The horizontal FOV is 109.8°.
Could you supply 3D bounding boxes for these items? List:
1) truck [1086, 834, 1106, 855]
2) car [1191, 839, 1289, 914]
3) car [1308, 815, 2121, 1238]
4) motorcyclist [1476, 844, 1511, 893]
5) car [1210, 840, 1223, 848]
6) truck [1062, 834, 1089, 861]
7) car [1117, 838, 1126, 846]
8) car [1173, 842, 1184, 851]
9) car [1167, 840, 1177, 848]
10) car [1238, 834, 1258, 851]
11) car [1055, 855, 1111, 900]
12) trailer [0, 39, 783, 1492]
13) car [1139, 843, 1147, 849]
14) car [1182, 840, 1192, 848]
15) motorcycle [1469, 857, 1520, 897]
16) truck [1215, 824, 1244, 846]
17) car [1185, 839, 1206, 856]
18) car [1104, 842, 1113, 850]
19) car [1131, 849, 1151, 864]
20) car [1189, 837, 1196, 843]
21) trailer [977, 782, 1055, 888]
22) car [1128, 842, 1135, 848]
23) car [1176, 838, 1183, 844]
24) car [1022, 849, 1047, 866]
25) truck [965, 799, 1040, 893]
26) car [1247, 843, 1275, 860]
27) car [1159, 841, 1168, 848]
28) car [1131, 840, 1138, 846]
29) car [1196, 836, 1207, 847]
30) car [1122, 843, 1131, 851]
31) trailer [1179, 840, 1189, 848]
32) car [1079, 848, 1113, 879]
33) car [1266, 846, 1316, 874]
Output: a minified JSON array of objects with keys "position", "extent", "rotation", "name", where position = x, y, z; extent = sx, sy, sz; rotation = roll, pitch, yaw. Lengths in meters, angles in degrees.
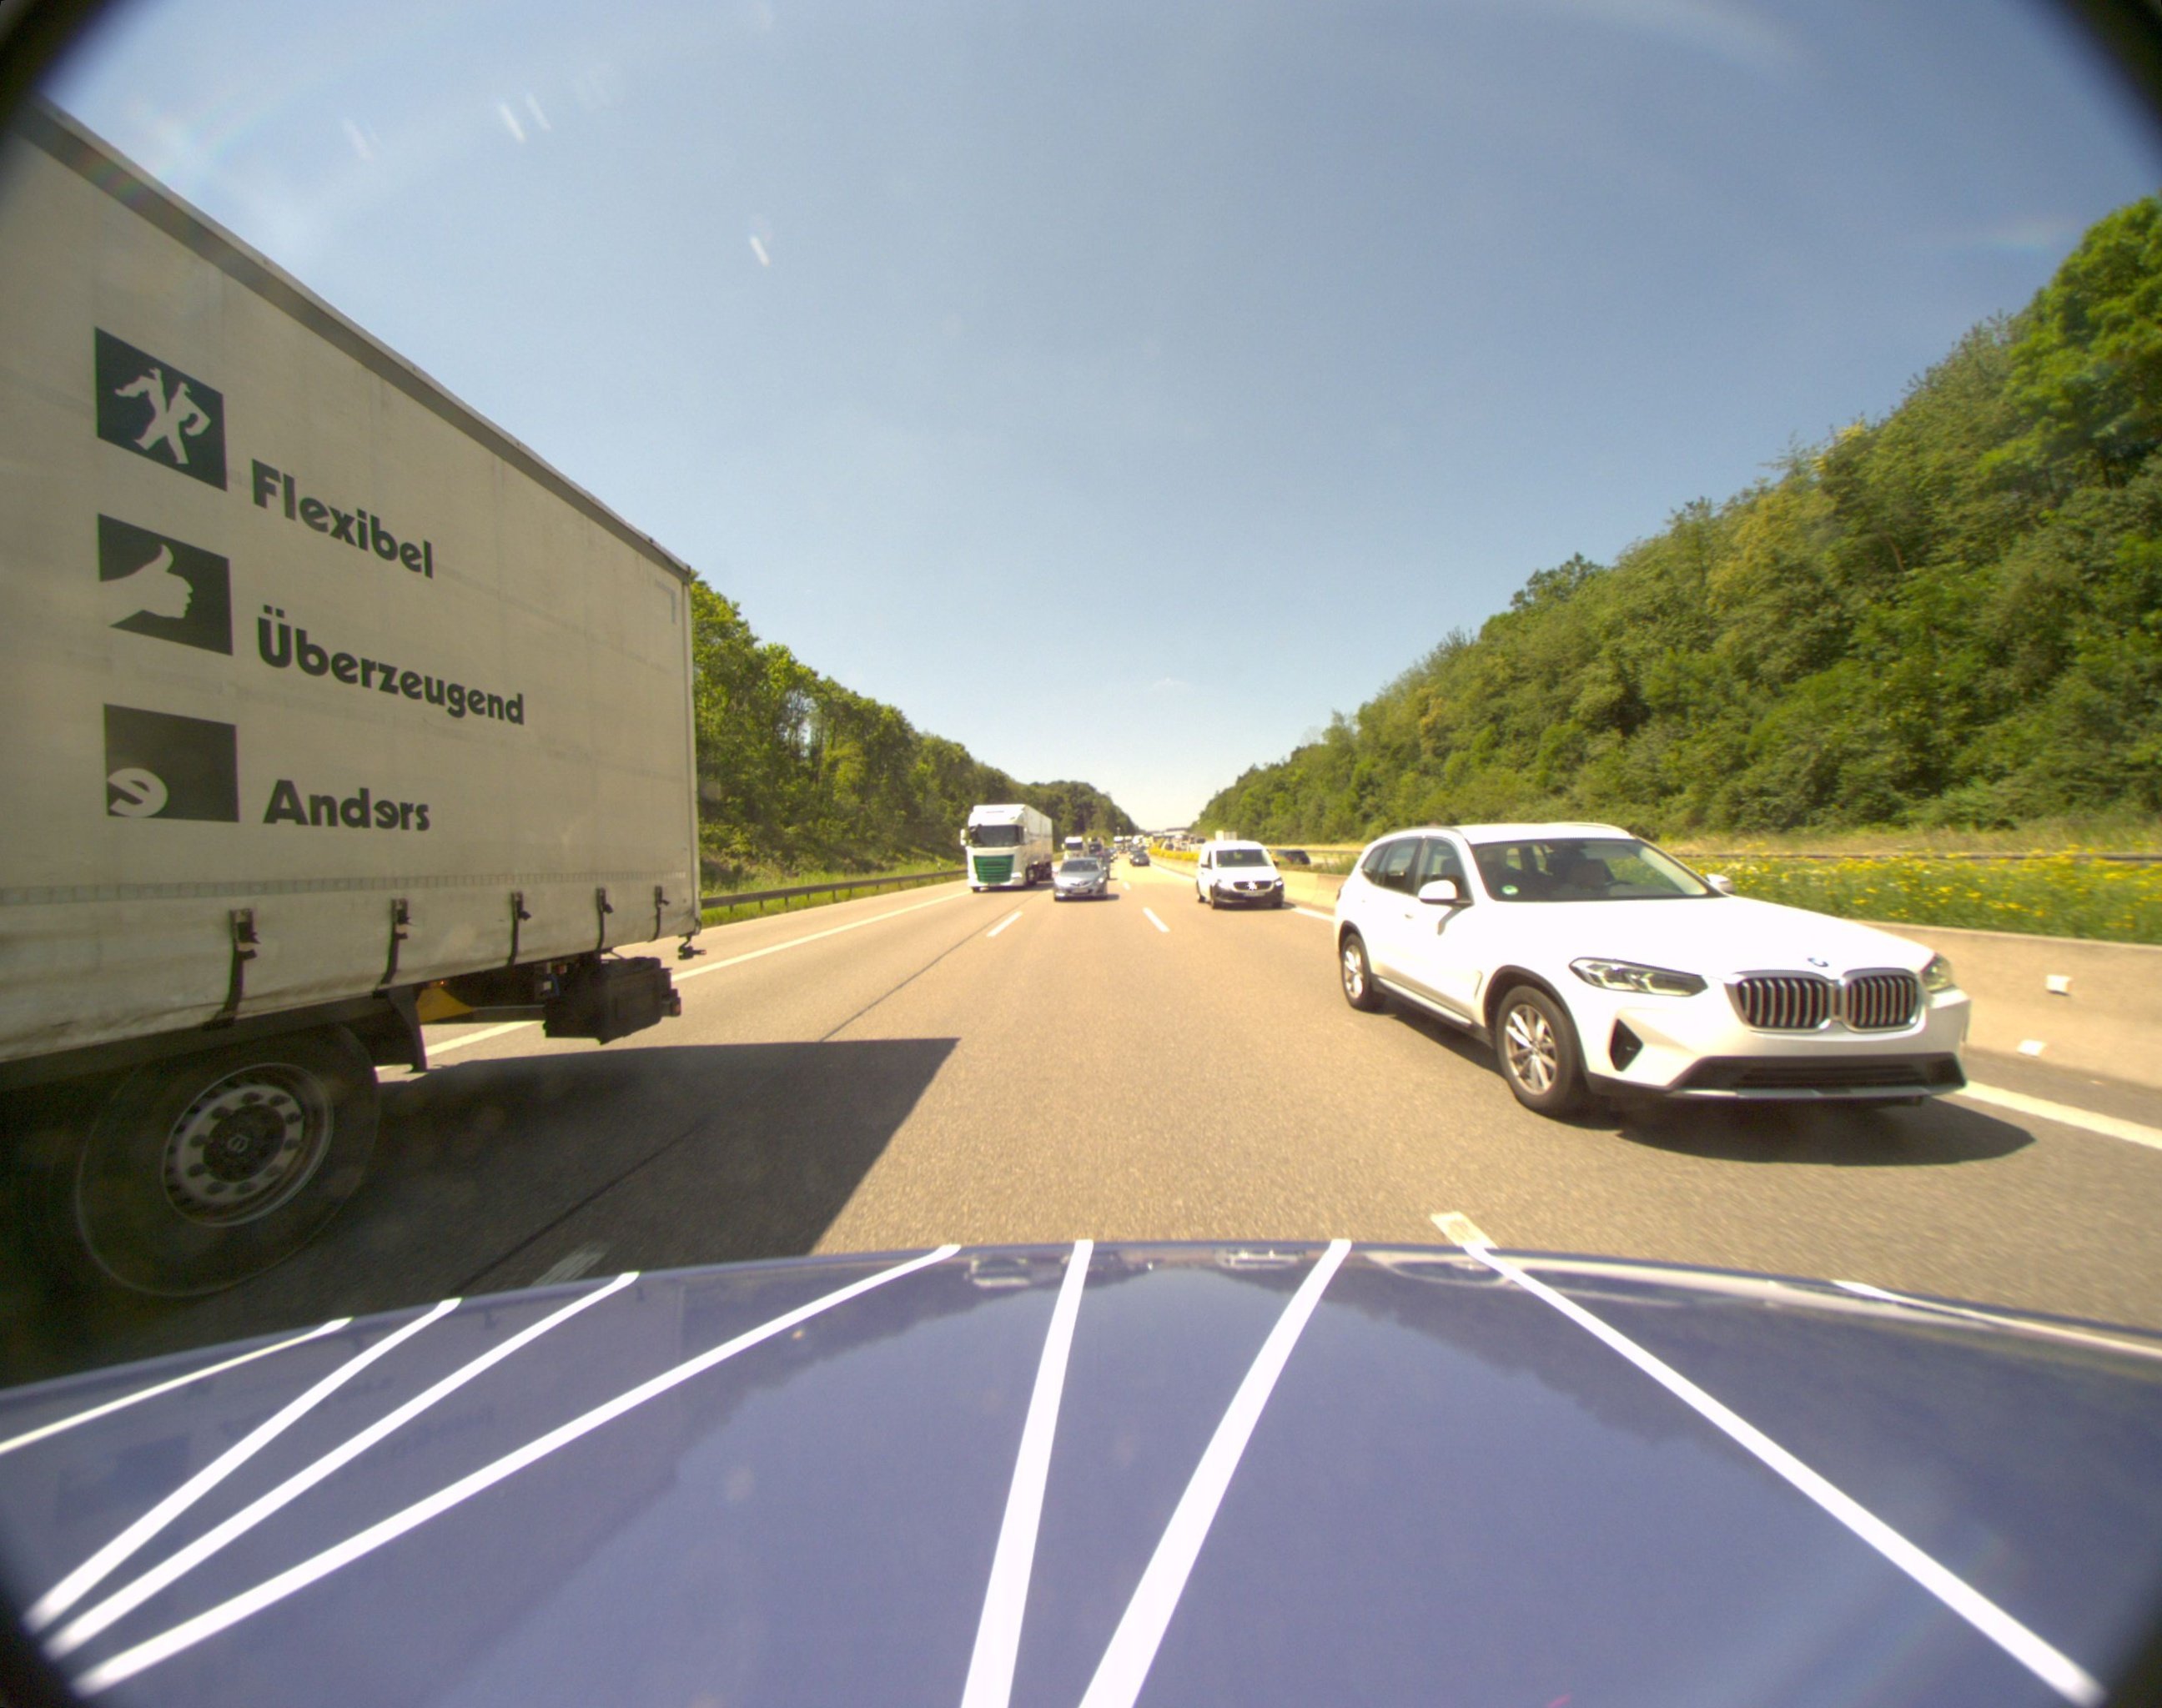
[{"position":[2.862,-1.876,145.016],"extent":[3.558,3.695,7.550],"rotation":[-2,1,2],"name":"truck"},{"position":[4.279,0.546,21.161],"extent":[1.769,1.802,4.674],"rotation":[-2,0,1],"name":"car"},{"position":[3.360,0.710,5.618],"extent":[1.869,1.684,4.956],"rotation":[-2,0,0],"name":"car"},{"position":[11.422,0.390,21.042],"extent":[0.624,1.326,0.577],"rotation":[-2,1,1],"name":"motorcyclist"},{"position":[24.570,-1.733,137.727],"extent":[1.618,1.381,3.508],"rotation":[-2,0,1],"name":"car"},{"position":[-0.664,-0.904,100.842],"extent":[3.263,3.337,6.862],"rotation":[-2,1,1],"name":"truck"},{"position":[12.625,-3.702,236.542],"extent":[2.697,2.467,6.585],"rotation":[-2,1,4],"name":"car"},{"position":[16.838,-1.374,131.707],"extent":[1.602,1.500,3.359],"rotation":[-2,1,2],"name":"car"},{"position":[21.148,-2.293,177.286],"extent":[1.922,1.658,3.999],"rotation":[-2,1,2],"name":"car"},{"position":[21.384,-1.475,97.255],"extent":[1.637,2.002,3.999],"rotation":[-2,1,1],"name":"car"},{"position":[0.089,0.822,28.210],"extent":[1.887,1.458,4.247],"rotation":[-2,0,0],"name":"car"},{"position":[-4.508,-0.263,0.835],"extent":[2.793,4.180,13.244],"rotation":[-3,0,1],"name":"trailer"},{"position":[15.821,-2.062,193.485],"extent":[1.998,1.426,4.000],"rotation":[-2,1,3],"name":"car"},{"position":[21.368,-2.025,153.343],"extent":[1.602,1.375,3.360],"rotation":[-2,1,3],"name":"car"},{"position":[11.431,0.610,21.055],"extent":[0.625,1.027,1.467],"rotation":[-2,1,1],"name":"motorcycle"},{"position":[29.331,-3.739,150.822],"extent":[3.718,4.171,13.793],"rotation":[-2,1,3],"name":"truck"},{"position":[14.159,-0.832,94.282],"extent":[1.998,2.002,4.899],"rotation":[-2,1,2],"name":"car"},{"position":[6.586,-1.886,182.016],"extent":[1.964,2.002,4.000],"rotation":[-2,1,1],"name":"car"},{"position":[6.198,0.292,79.163],"extent":[1.720,1.470,4.000],"rotation":[-2,0,0],"name":"car"},{"position":[36.165,-4.508,246.278],"extent":[1.998,1.676,4.000],"rotation":[-2,1,2],"name":"car"},{"position":[-3.404,-1.074,44.362],"extent":[2.574,5.011,15.270],"rotation":[-2,1,2],"name":"trailer"},{"position":[13.878,-2.477,208.759],"extent":[1.998,1.728,4.000],"rotation":[-2,1,4],"name":"car"},{"position":[32.339,-4.334,249.504],"extent":[1.998,1.676,4.000],"rotation":[-2,1,2],"name":"car"},{"position":[-4.386,0.306,72.004],"extent":[1.934,1.534,3.756],"rotation":[-2,1,1],"name":"car"},{"position":[-3.613,-0.418,36.477],"extent":[2.542,4.006,6.624],"rotation":[-2,1,2],"name":"truck"},{"position":[16.627,-0.268,70.185],"extent":[1.675,1.499,3.828],"rotation":[-2,1,1],"name":"car"},{"position":[22.635,-2.621,208.287],"extent":[1.998,1.676,4.000],"rotation":[-2,0,2],"name":"car"},{"position":[16.217,-3.411,231.917],"extent":[1.998,1.728,4.000],"rotation":[-2,1,4],"name":"car"},{"position":[28.181,-2.925,178.187],"extent":[1.998,2.416,4.000],"rotation":[-2,1,2],"name":"car"},{"position":[10.954,-1.674,182.092],"extent":[1.998,1.728,4.000],"rotation":[-2,1,2],"name":"car"},{"position":[25.771,-2.482,189.760],"extent":[1.998,2.002,4.000],"rotation":[-2,1,2],"name":"trailer"},{"position":[0.914,0.545,45.261],"extent":[1.887,1.696,4.084],"rotation":[-2,0,1],"name":"car"},{"position":[12.193,0.303,44.261],"extent":[1.766,1.501,3.999],"rotation":[-2,1,0],"name":"car"}]
